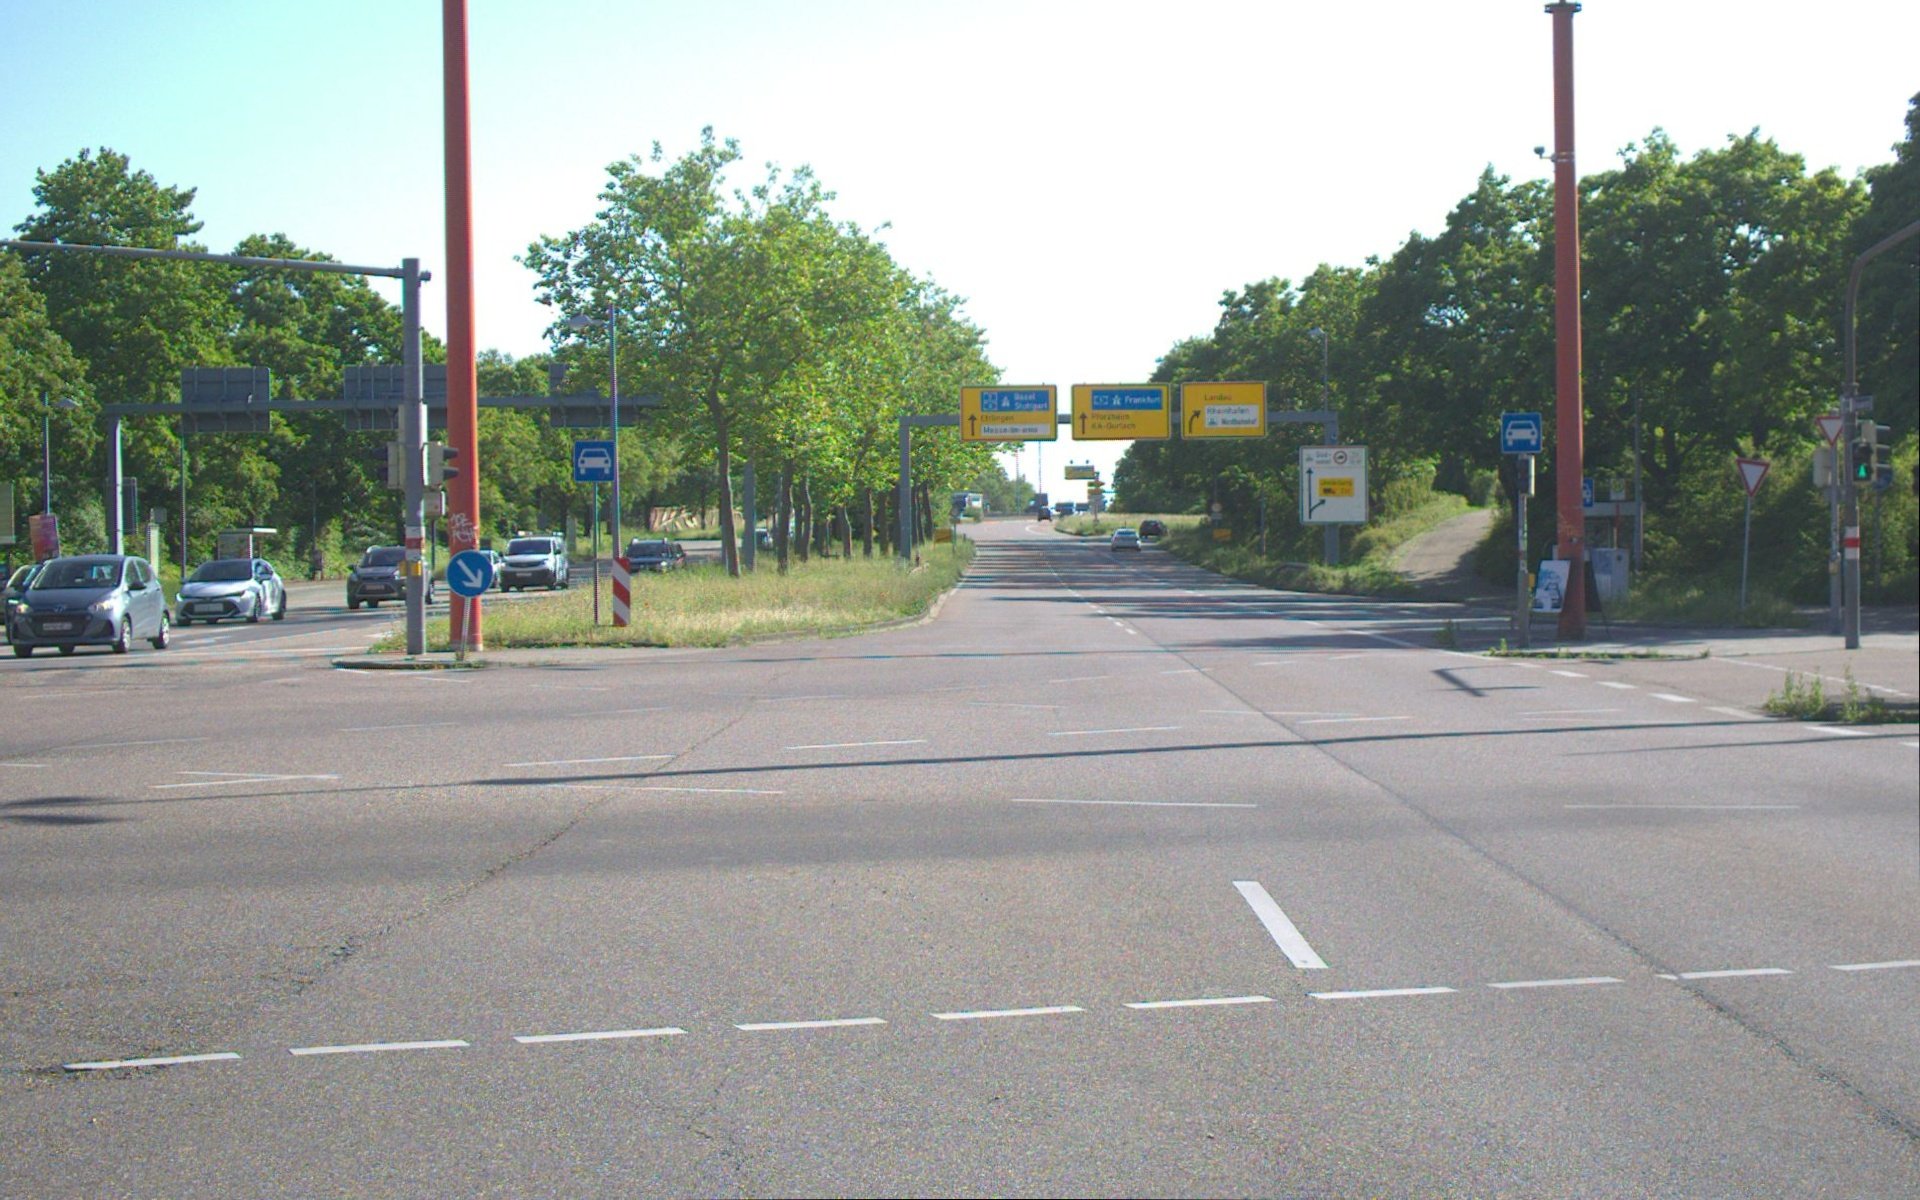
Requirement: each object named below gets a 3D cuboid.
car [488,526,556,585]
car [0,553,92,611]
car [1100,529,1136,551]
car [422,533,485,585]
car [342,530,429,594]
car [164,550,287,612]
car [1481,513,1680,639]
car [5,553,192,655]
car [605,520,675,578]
[{"bbox_3d":[-15.422,-1.565,121.086,2.003,2.007,4.000,1,1,-2],"label":"car"},{"bbox_3d":[-23.373,-0.478,87.897,1.531,1.444,3.705,1,1,-2],"label":"car"},{"bbox_3d":[9.926,-3.791,216.182,2.054,1.366,4.392,0,1,-1],"label":"car"},{"bbox_3d":[-19.989,-1.605,135.846,2.003,2.007,4.000,1,1,-2],"label":"car"},{"bbox_3d":[-15.844,-1.065,94.967,1.625,1.733,4.000,0,1,1],"label":"car"},{"bbox_3d":[-16.288,-0.437,76.433,2.003,1.303,4.000,0,1,-2],"label":"car"},{"bbox_3d":[9.715,-0.393,53.614,1.996,1.881,3.994,0,1,27],"label":"car"},{"bbox_3d":[-13.000,0.045,52.078,1.701,1.416,4.000,3,0,1],"label":"car"},{"bbox_3d":[-9.916,-1.580,106.604,1.657,1.741,4.000,1,1,2],"label":"car"}]
